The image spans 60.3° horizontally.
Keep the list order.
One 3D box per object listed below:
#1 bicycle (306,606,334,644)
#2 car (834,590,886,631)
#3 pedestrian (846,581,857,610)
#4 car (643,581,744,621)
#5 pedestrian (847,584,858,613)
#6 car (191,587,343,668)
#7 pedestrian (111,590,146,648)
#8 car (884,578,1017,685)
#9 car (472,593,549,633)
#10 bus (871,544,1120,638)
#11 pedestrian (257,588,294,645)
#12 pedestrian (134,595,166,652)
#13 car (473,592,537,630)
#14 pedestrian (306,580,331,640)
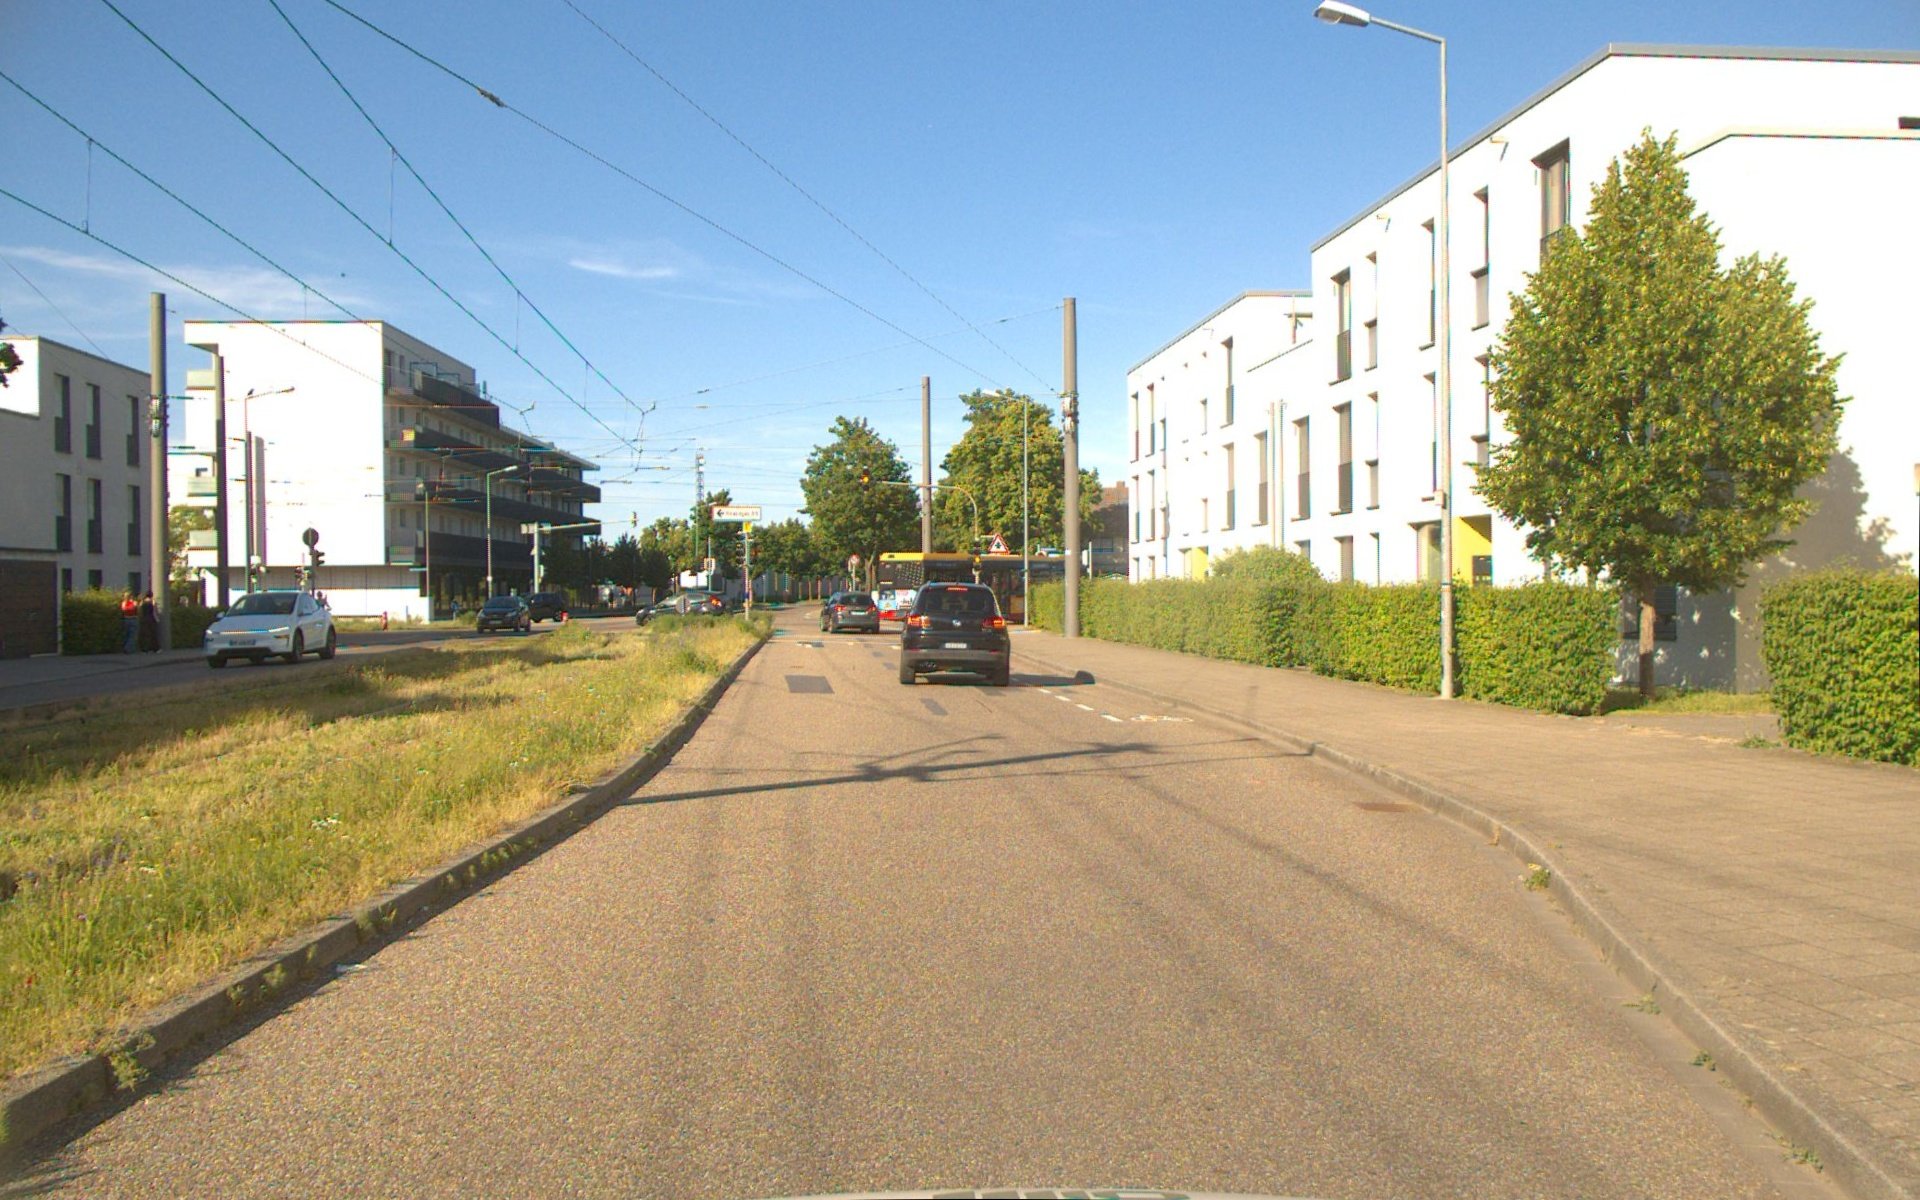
[{"bbox_3d":[-22.306,0.866,57.682,0.782,1.243,2.688,1,0,-19],"label":"bicycle"},{"bbox_3d":[-3.661,0.350,59.947,1.717,1.411,3.995,1,0,-6],"label":"car"},{"bbox_3d":[-6.408,-0.266,97.727,0.590,1.668,0.529,1,0,0],"label":"pedestrian"},{"bbox_3d":[-10.688,0.049,66.277,3.654,1.455,1.707,-2,1,26],"label":"car"},{"bbox_3d":[-6.405,-0.085,98.273,0.590,1.668,0.529,1,0,0],"label":"pedestrian"},{"bbox_3d":[-15.774,0.569,37.928,1.956,1.623,4.639,-3,1,-7],"label":"car"},{"bbox_3d":[-21.994,0.497,43.761,0.546,1.489,0.742,1,0,-3],"label":"pedestrian"},{"bbox_3d":[-0.234,0.488,28.226,1.869,1.671,3.995,1,0,-6],"label":"car"},{"bbox_3d":[-24.704,0.713,90.997,1.954,2.049,3.998,-1,1,25],"label":"car"},{"bbox_3d":[1.928,-0.362,72.399,2.793,3.735,14.617,1,1,38],"label":"bus"},{"bbox_3d":[-21.950,0.518,53.051,0.799,1.778,0.909,1,0,1],"label":"pedestrian"},{"bbox_3d":[-21.441,0.615,43.807,0.546,1.489,0.611,1,0,-3],"label":"pedestrian"},{"bbox_3d":[-18.726,0.428,68.186,1.753,1.443,3.997,-2,1,-4],"label":"car"},{"bbox_3d":[-22.075,0.330,56.928,0.749,2.049,0.666,1,0,-18],"label":"pedestrian"}]
